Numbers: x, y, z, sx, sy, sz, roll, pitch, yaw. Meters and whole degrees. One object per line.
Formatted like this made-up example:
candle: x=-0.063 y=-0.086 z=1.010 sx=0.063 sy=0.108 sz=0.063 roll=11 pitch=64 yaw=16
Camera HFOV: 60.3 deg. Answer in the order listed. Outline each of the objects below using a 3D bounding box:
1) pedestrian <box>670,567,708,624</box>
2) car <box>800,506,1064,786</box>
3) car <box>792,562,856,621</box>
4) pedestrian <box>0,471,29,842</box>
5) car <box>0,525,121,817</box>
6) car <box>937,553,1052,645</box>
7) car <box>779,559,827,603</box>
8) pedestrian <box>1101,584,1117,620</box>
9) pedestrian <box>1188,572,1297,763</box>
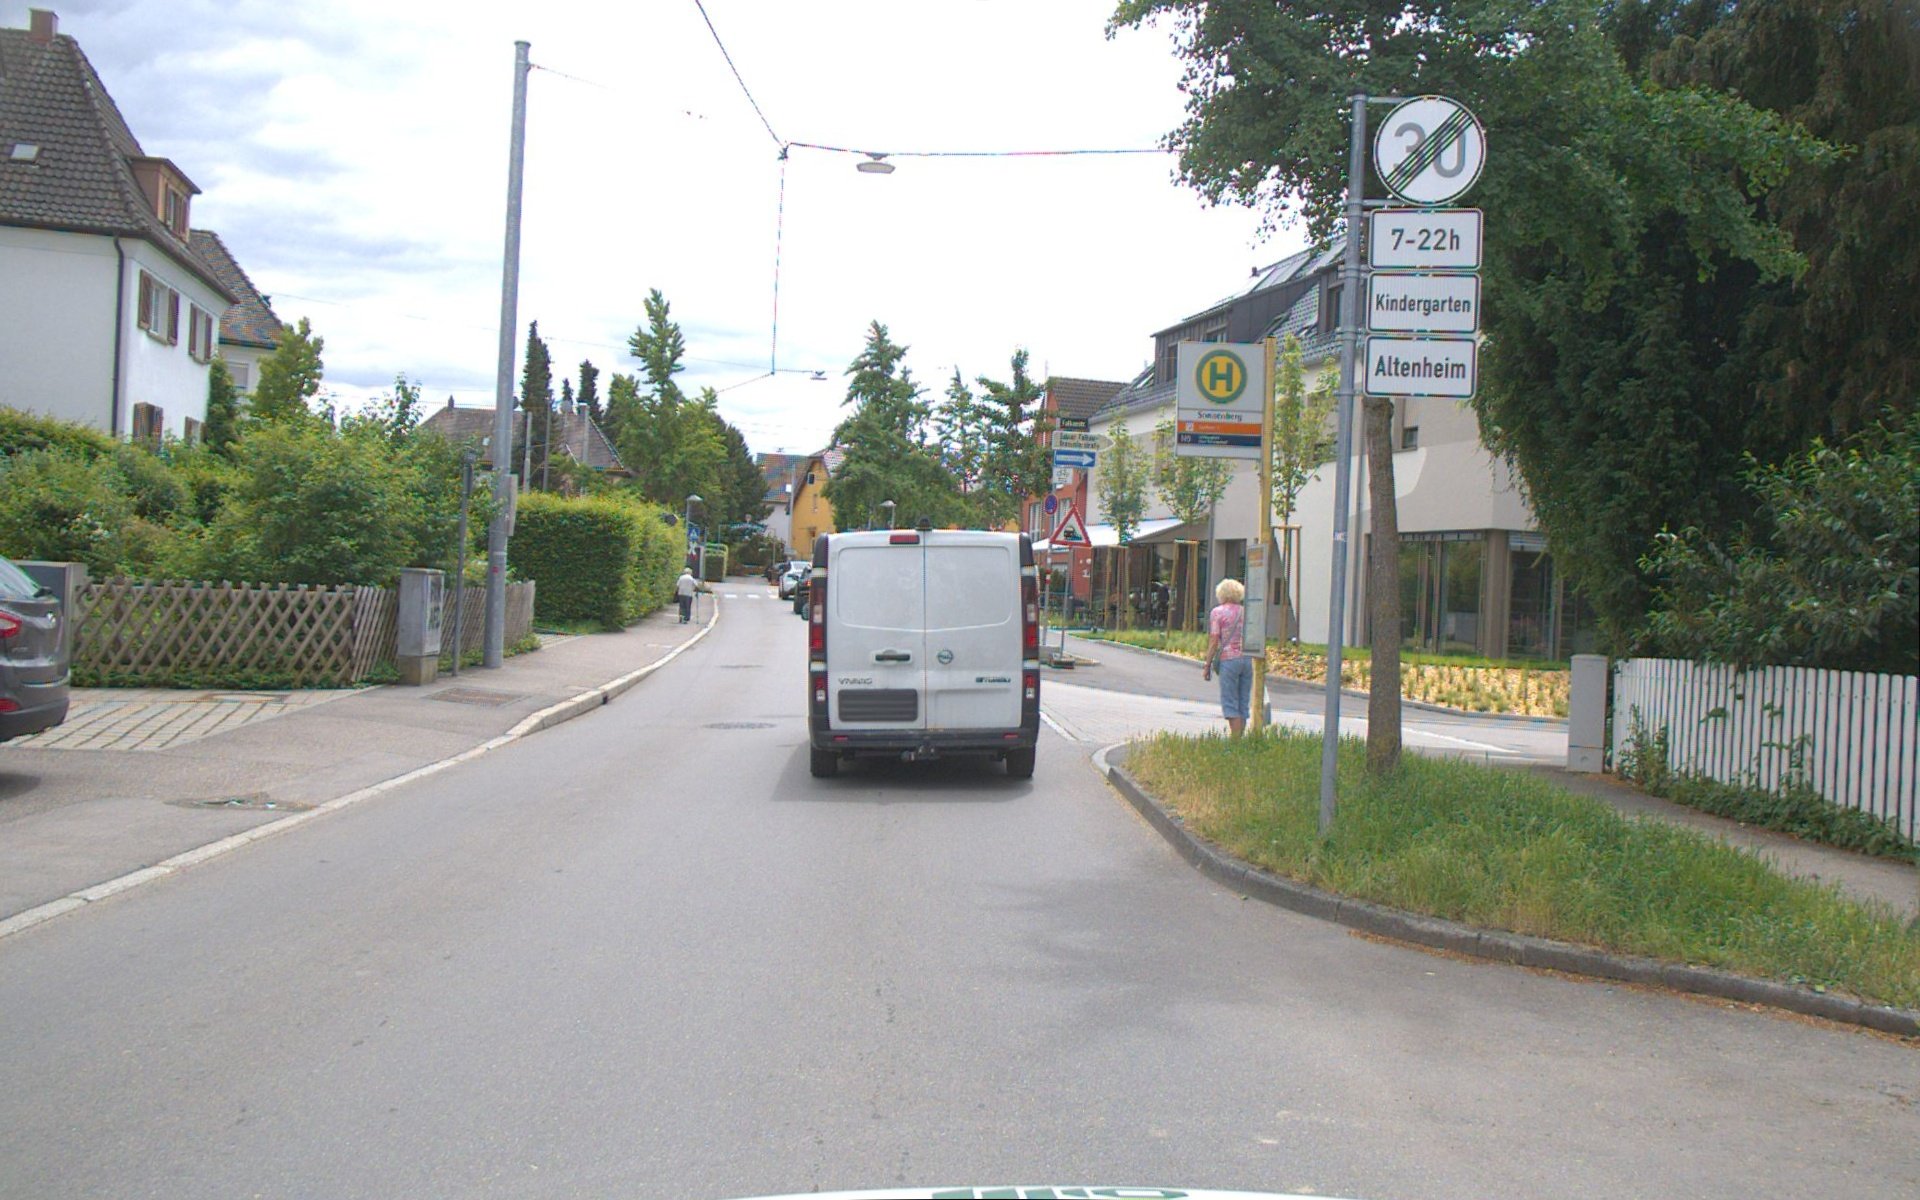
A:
pedestrian: x=-7.530 y=-0.126 z=45.940 sx=0.865 sy=1.511 sz=0.451 roll=5 pitch=-1 yaw=-27
car: x=-0.414 y=0.353 z=14.558 sx=1.879 sy=2.037 sz=4.432 roll=2 pitch=0 yaw=-6
car: x=-4.650 y=-0.286 z=56.082 sx=1.956 sy=1.880 sz=3.994 roll=2 pitch=0 yaw=-7
pedestrian: x=-5.373 y=0.294 z=8.140 sx=0.718 sy=1.979 sz=1.218 roll=4 pitch=0 yaw=1
car: x=-7.803 y=0.249 z=10.223 sx=4.238 sy=1.725 sz=1.792 roll=5 pitch=0 yaw=-14
car: x=0.754 y=-0.038 z=40.072 sx=1.922 sy=1.949 sz=4.893 roll=4 pitch=0 yaw=-8
car: x=-6.836 y=-0.826 z=71.778 sx=1.956 sy=1.813 sz=3.994 roll=1 pitch=0 yaw=-7
pedestrian: x=4.978 y=0.070 z=55.326 sx=0.413 sy=1.202 sz=0.323 roll=2 pitch=0 yaw=-9
pedestrian: x=2.649 y=0.616 z=15.524 sx=0.862 sy=1.673 sz=0.857 roll=4 pitch=0 yaw=10
